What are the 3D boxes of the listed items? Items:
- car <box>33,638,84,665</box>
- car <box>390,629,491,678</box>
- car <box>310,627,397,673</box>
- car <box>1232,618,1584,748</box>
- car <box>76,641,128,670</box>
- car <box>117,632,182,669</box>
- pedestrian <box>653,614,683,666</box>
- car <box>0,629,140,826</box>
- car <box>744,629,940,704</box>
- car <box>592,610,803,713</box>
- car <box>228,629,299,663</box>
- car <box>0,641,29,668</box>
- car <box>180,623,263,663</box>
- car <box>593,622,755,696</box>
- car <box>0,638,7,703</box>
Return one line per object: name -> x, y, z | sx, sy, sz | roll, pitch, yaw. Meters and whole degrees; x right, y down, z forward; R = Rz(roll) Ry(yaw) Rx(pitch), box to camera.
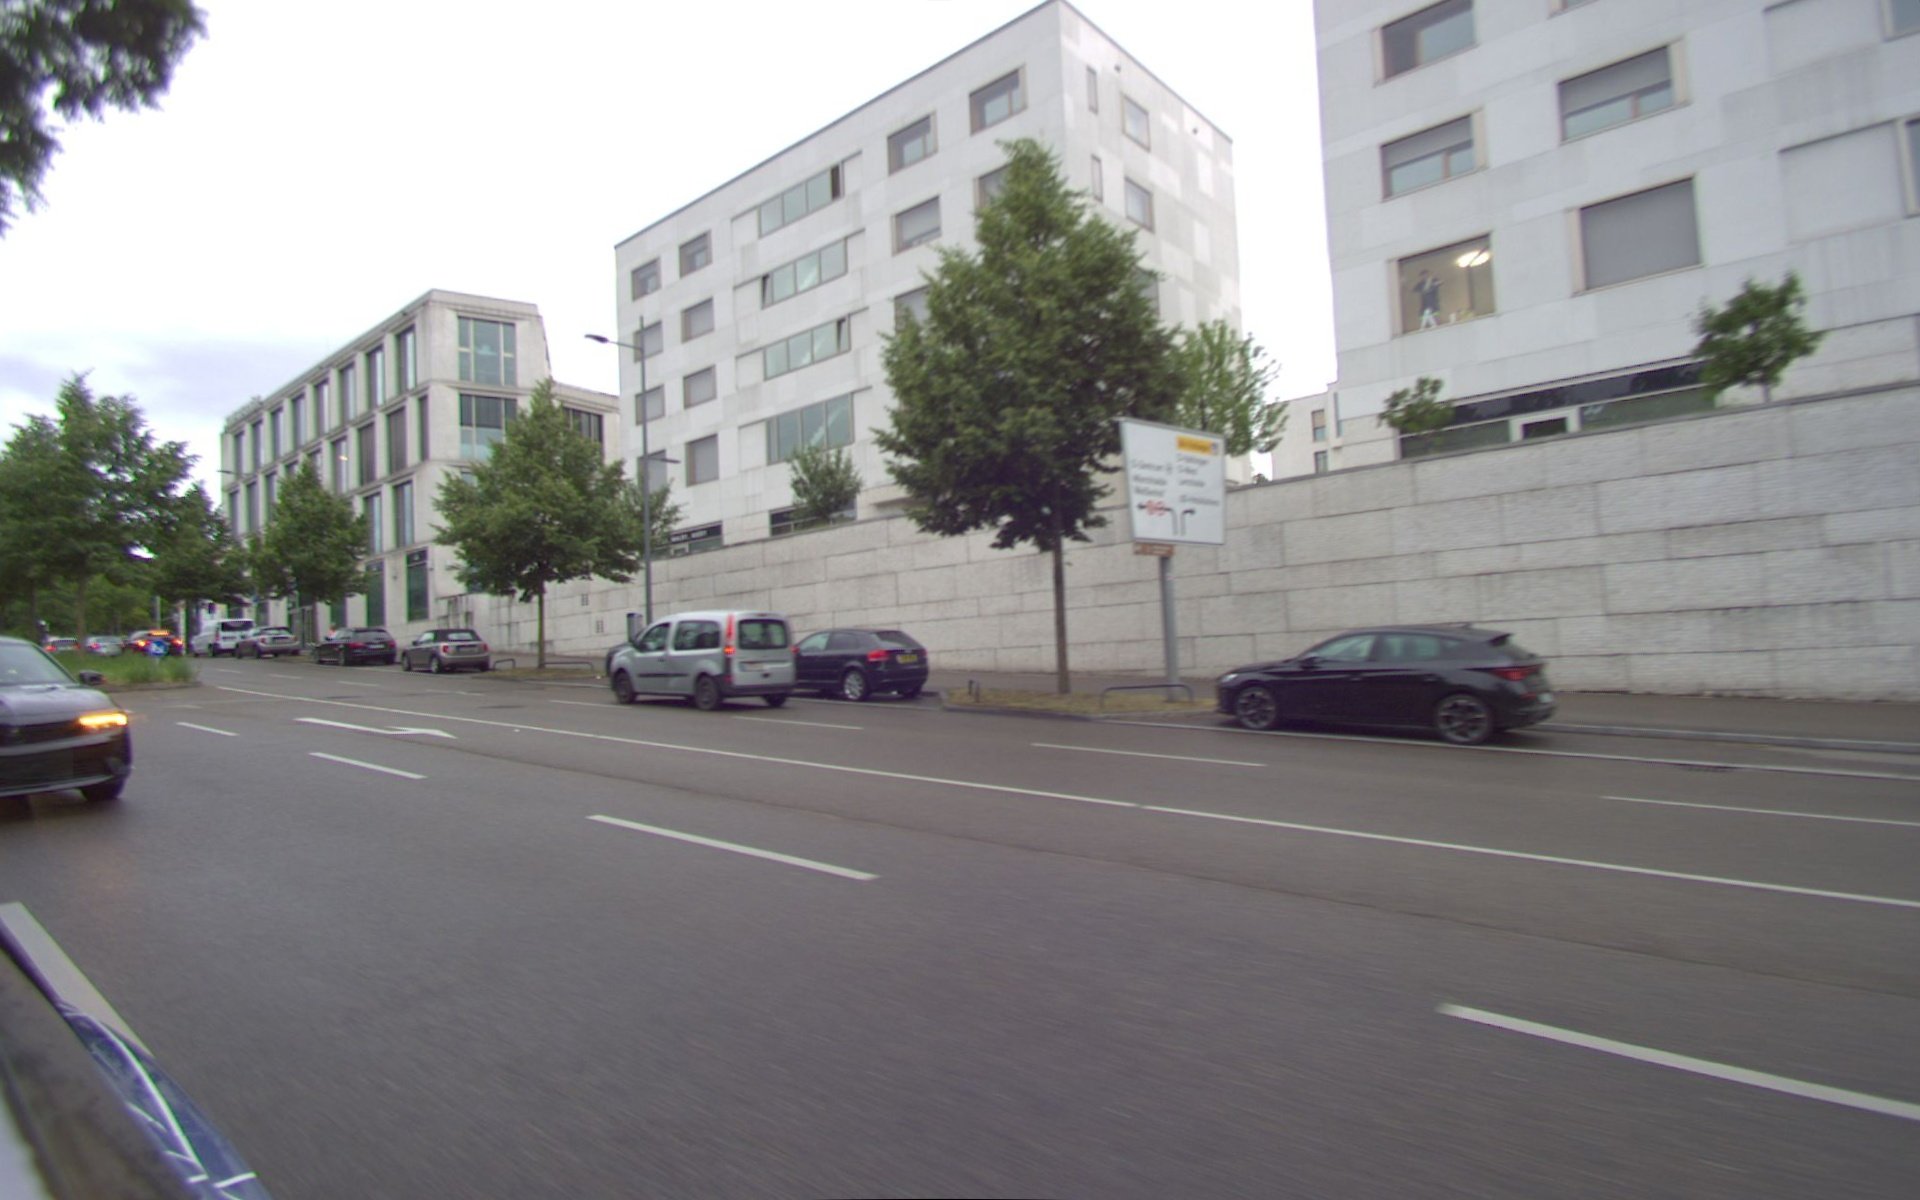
car -> -58.013, 3.302, 65.096 | 4.671, 1.613, 1.810 | -4, -2, 41
car -> -17.275, 1.769, 33.616 | 3.858, 1.455, 1.677 | -3, 0, 42
car -> -23.197, 1.872, 38.663 | 4.015, 1.593, 1.677 | -1, 0, 41
car -> 5.862, 1.005, 13.506 | 3.963, 1.437, 1.662 | -2, 0, 41
car -> -48.065, 3.126, 56.674 | 3.993, 1.422, 1.624 | -5, -4, 40
car -> -38.899, 2.414, 48.548 | 4.014, 1.593, 1.678 | -3, 0, 40
pedestrian -> -10.247, 1.391, 35.523 | 0.691, 1.788, 0.711 | -3, -2, 40
car -> -8.970, 1.007, 8.738 | 4.509, 1.441, 1.784 | -2, -1, 35
car -> -2.504, 1.320, 20.854 | 4.161, 1.370, 1.677 | -2, -2, 41
car -> -5.080, 1.127, 19.271 | 4.333, 1.760, 1.693 | -2, -2, 40
car -> -31.500, 2.075, 45.758 | 3.694, 1.395, 1.678 | -3, 0, 39
car -> -76.387, 4.401, 81.254 | 4.769, 1.816, 1.825 | -7, -3, 41
car -> -37.005, 2.187, 50.658 | 5.254, 1.829, 2.101 | -3, -2, 39
car -> -7.046, 1.365, 24.691 | 4.359, 1.632, 1.685 | -1, -1, 41
car -> -21.654, 1.577, 21.502 | 1.878, 1.450, 4.004 | -6, 1, -43
